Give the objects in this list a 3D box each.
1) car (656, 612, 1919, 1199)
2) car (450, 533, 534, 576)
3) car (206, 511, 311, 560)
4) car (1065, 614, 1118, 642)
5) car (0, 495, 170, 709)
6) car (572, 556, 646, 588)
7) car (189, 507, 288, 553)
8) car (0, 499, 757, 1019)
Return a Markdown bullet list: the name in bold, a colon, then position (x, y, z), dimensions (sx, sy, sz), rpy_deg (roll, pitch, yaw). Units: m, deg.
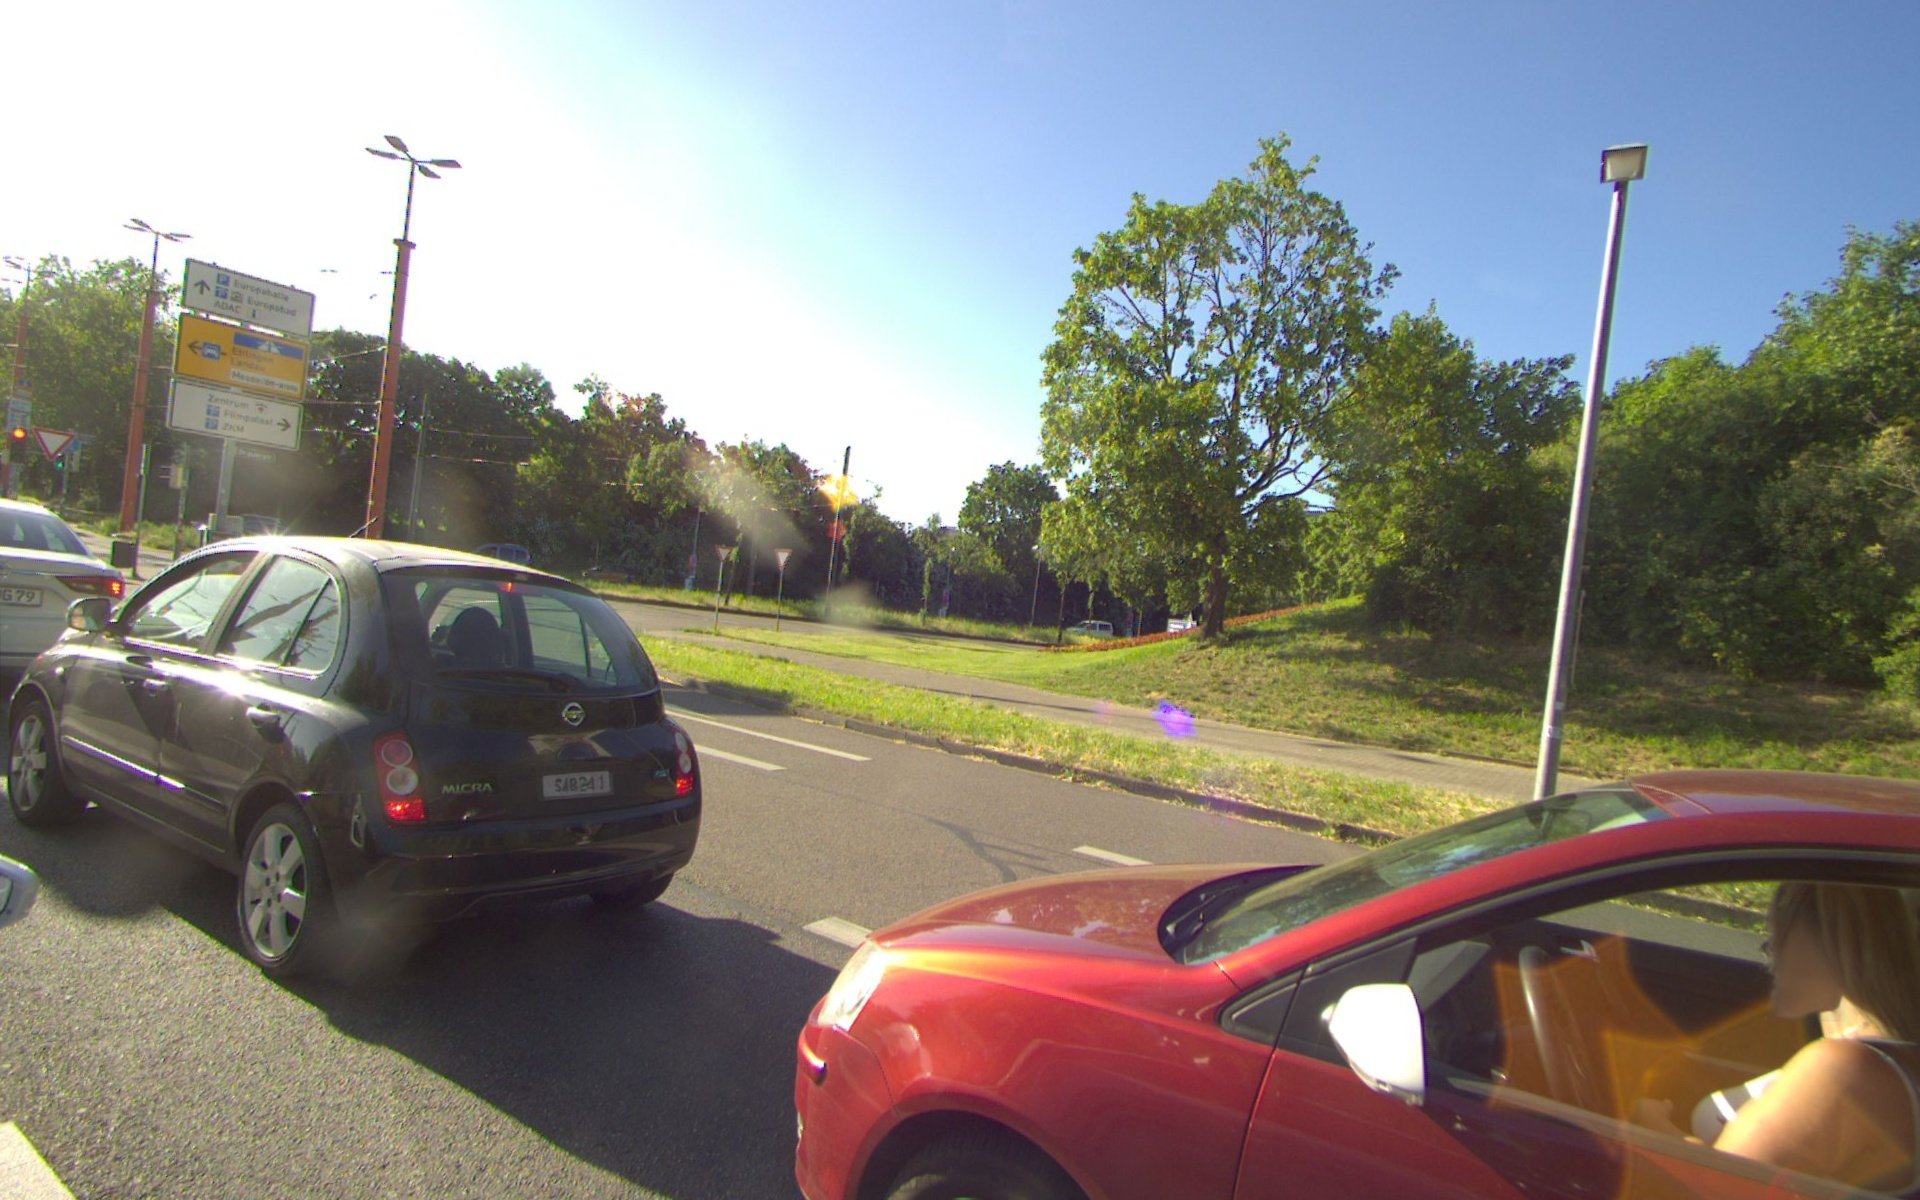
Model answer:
- **car**: position (1.342, 1.003, 1.864), dimensions (3.629, 1.477, 1.579), rpy_deg (6, -2, 32)
- **car**: position (-26.734, -2.562, 57.511), dimensions (4.087, 1.812, 1.786), rpy_deg (8, -1, -29)
- **car**: position (-35.939, -3.285, 51.684), dimensions (4.086, 1.812, 1.786), rpy_deg (8, -1, -29)
- **car**: position (10.947, 2.342, 83.610), dimensions (4.093, 1.771, 1.642), rpy_deg (8, -1, -33)
- **car**: position (-8.374, -0.174, 8.075), dimensions (4.256, 1.457, 1.802), rpy_deg (6, -2, 33)
- **car**: position (-22.425, -1.796, 64.283), dimensions (4.093, 1.419, 1.642), rpy_deg (8, -1, -33)
- **car**: position (-38.965, -3.769, 54.476), dimensions (4.092, 1.812, 1.783), rpy_deg (8, -1, -33)
- **car**: position (-2.801, 0.468, 4.620), dimensions (3.385, 1.457, 1.579), rpy_deg (6, -2, 32)
